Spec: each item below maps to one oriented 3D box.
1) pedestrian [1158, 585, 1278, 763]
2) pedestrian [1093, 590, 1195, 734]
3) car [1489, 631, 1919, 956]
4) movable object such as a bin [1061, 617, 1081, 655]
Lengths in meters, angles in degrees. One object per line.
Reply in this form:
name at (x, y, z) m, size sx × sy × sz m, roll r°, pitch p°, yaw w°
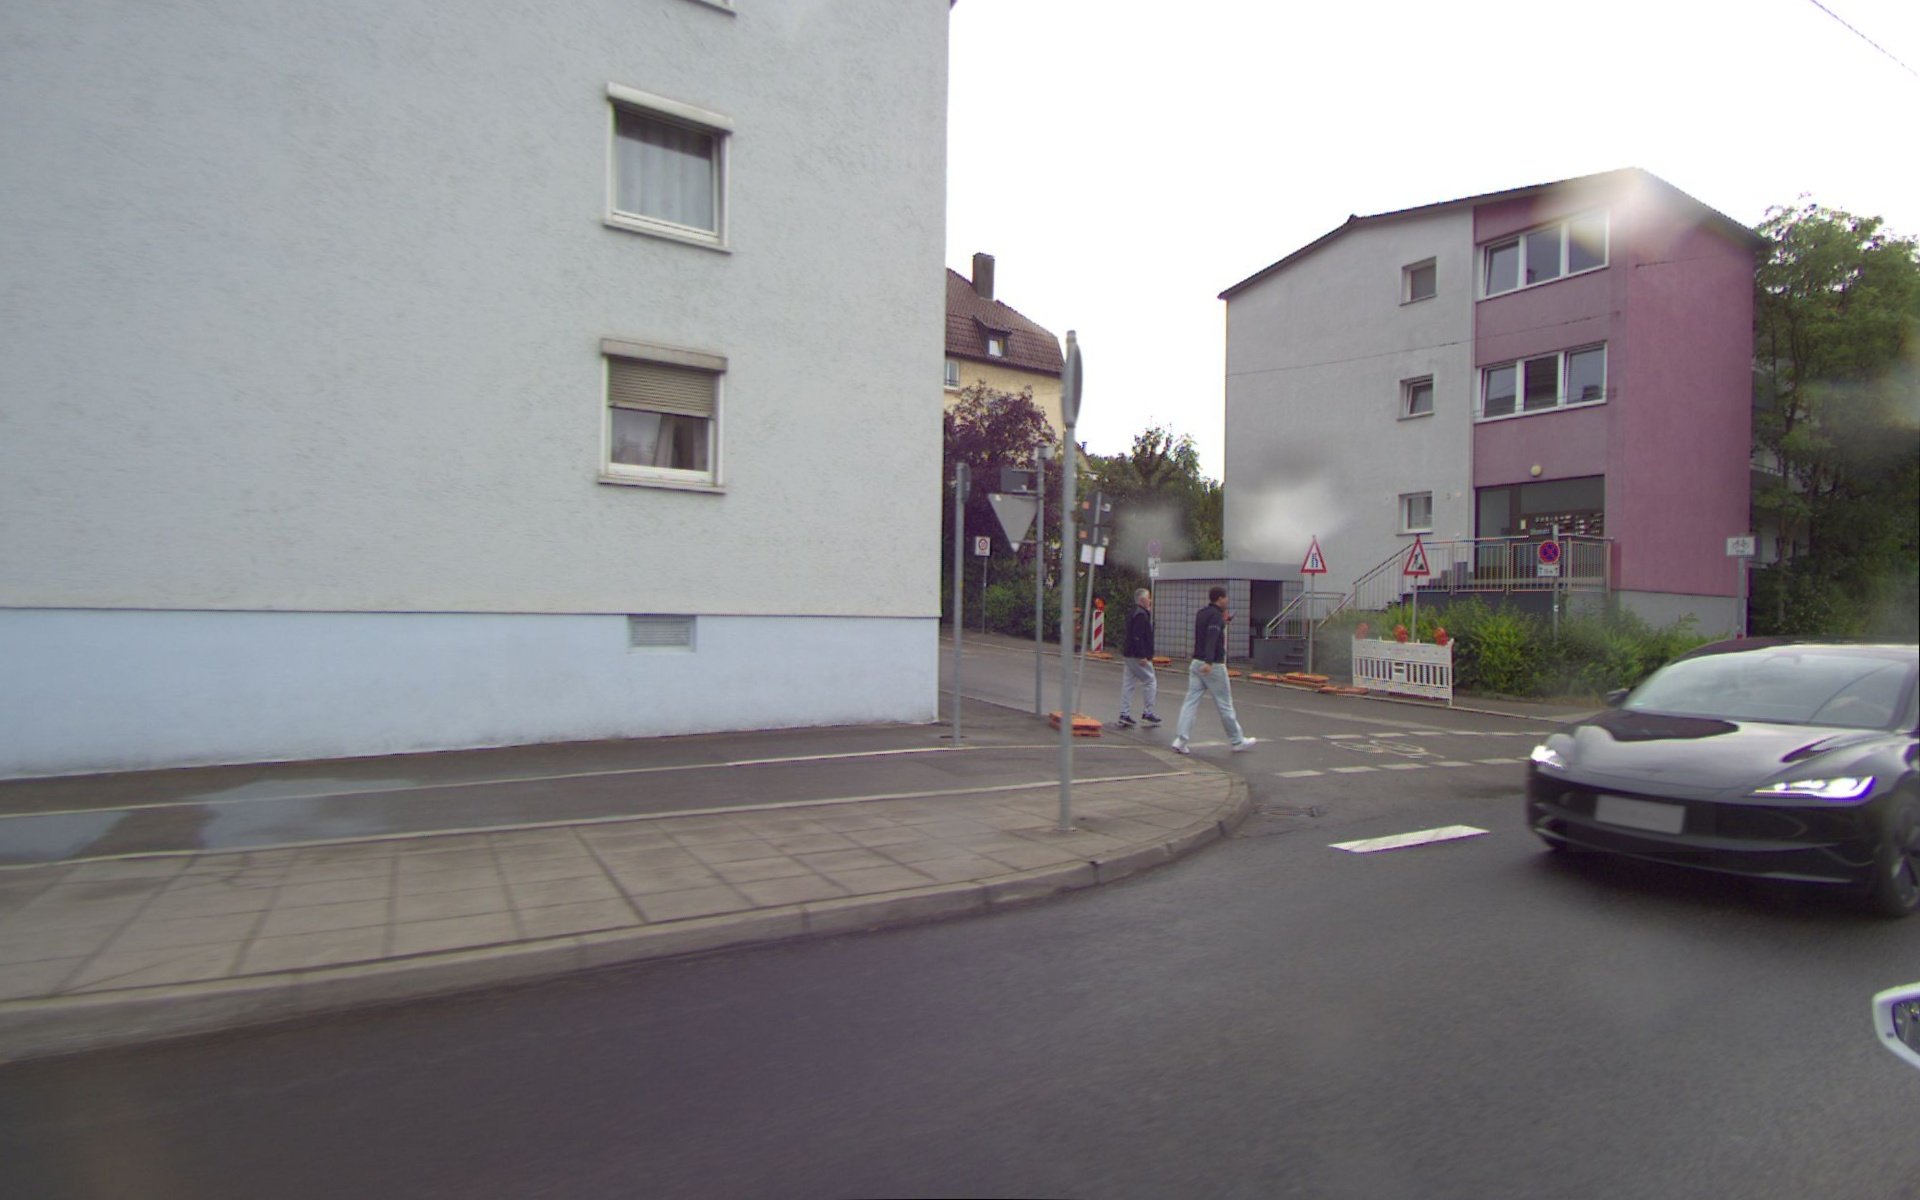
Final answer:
pedestrian at (2.929, 0.805, 11.423) m, size 1.033 × 1.907 × 0.856 m, roll 0°, pitch 0°, yaw -34°
pedestrian at (2.481, 0.800, 13.555) m, size 1.104 × 1.846 × 0.801 m, roll 0°, pitch 1°, yaw -33°
car at (5.567, 0.962, 6.579) m, size 4.340 × 1.472 × 1.774 m, roll 1°, pitch -1°, yaw -31°
movable object such as a bin at (2.998, 0.966, 27.078) m, size 0.429 × 0.992 × 0.325 m, roll 1°, pitch 0°, yaw -37°
